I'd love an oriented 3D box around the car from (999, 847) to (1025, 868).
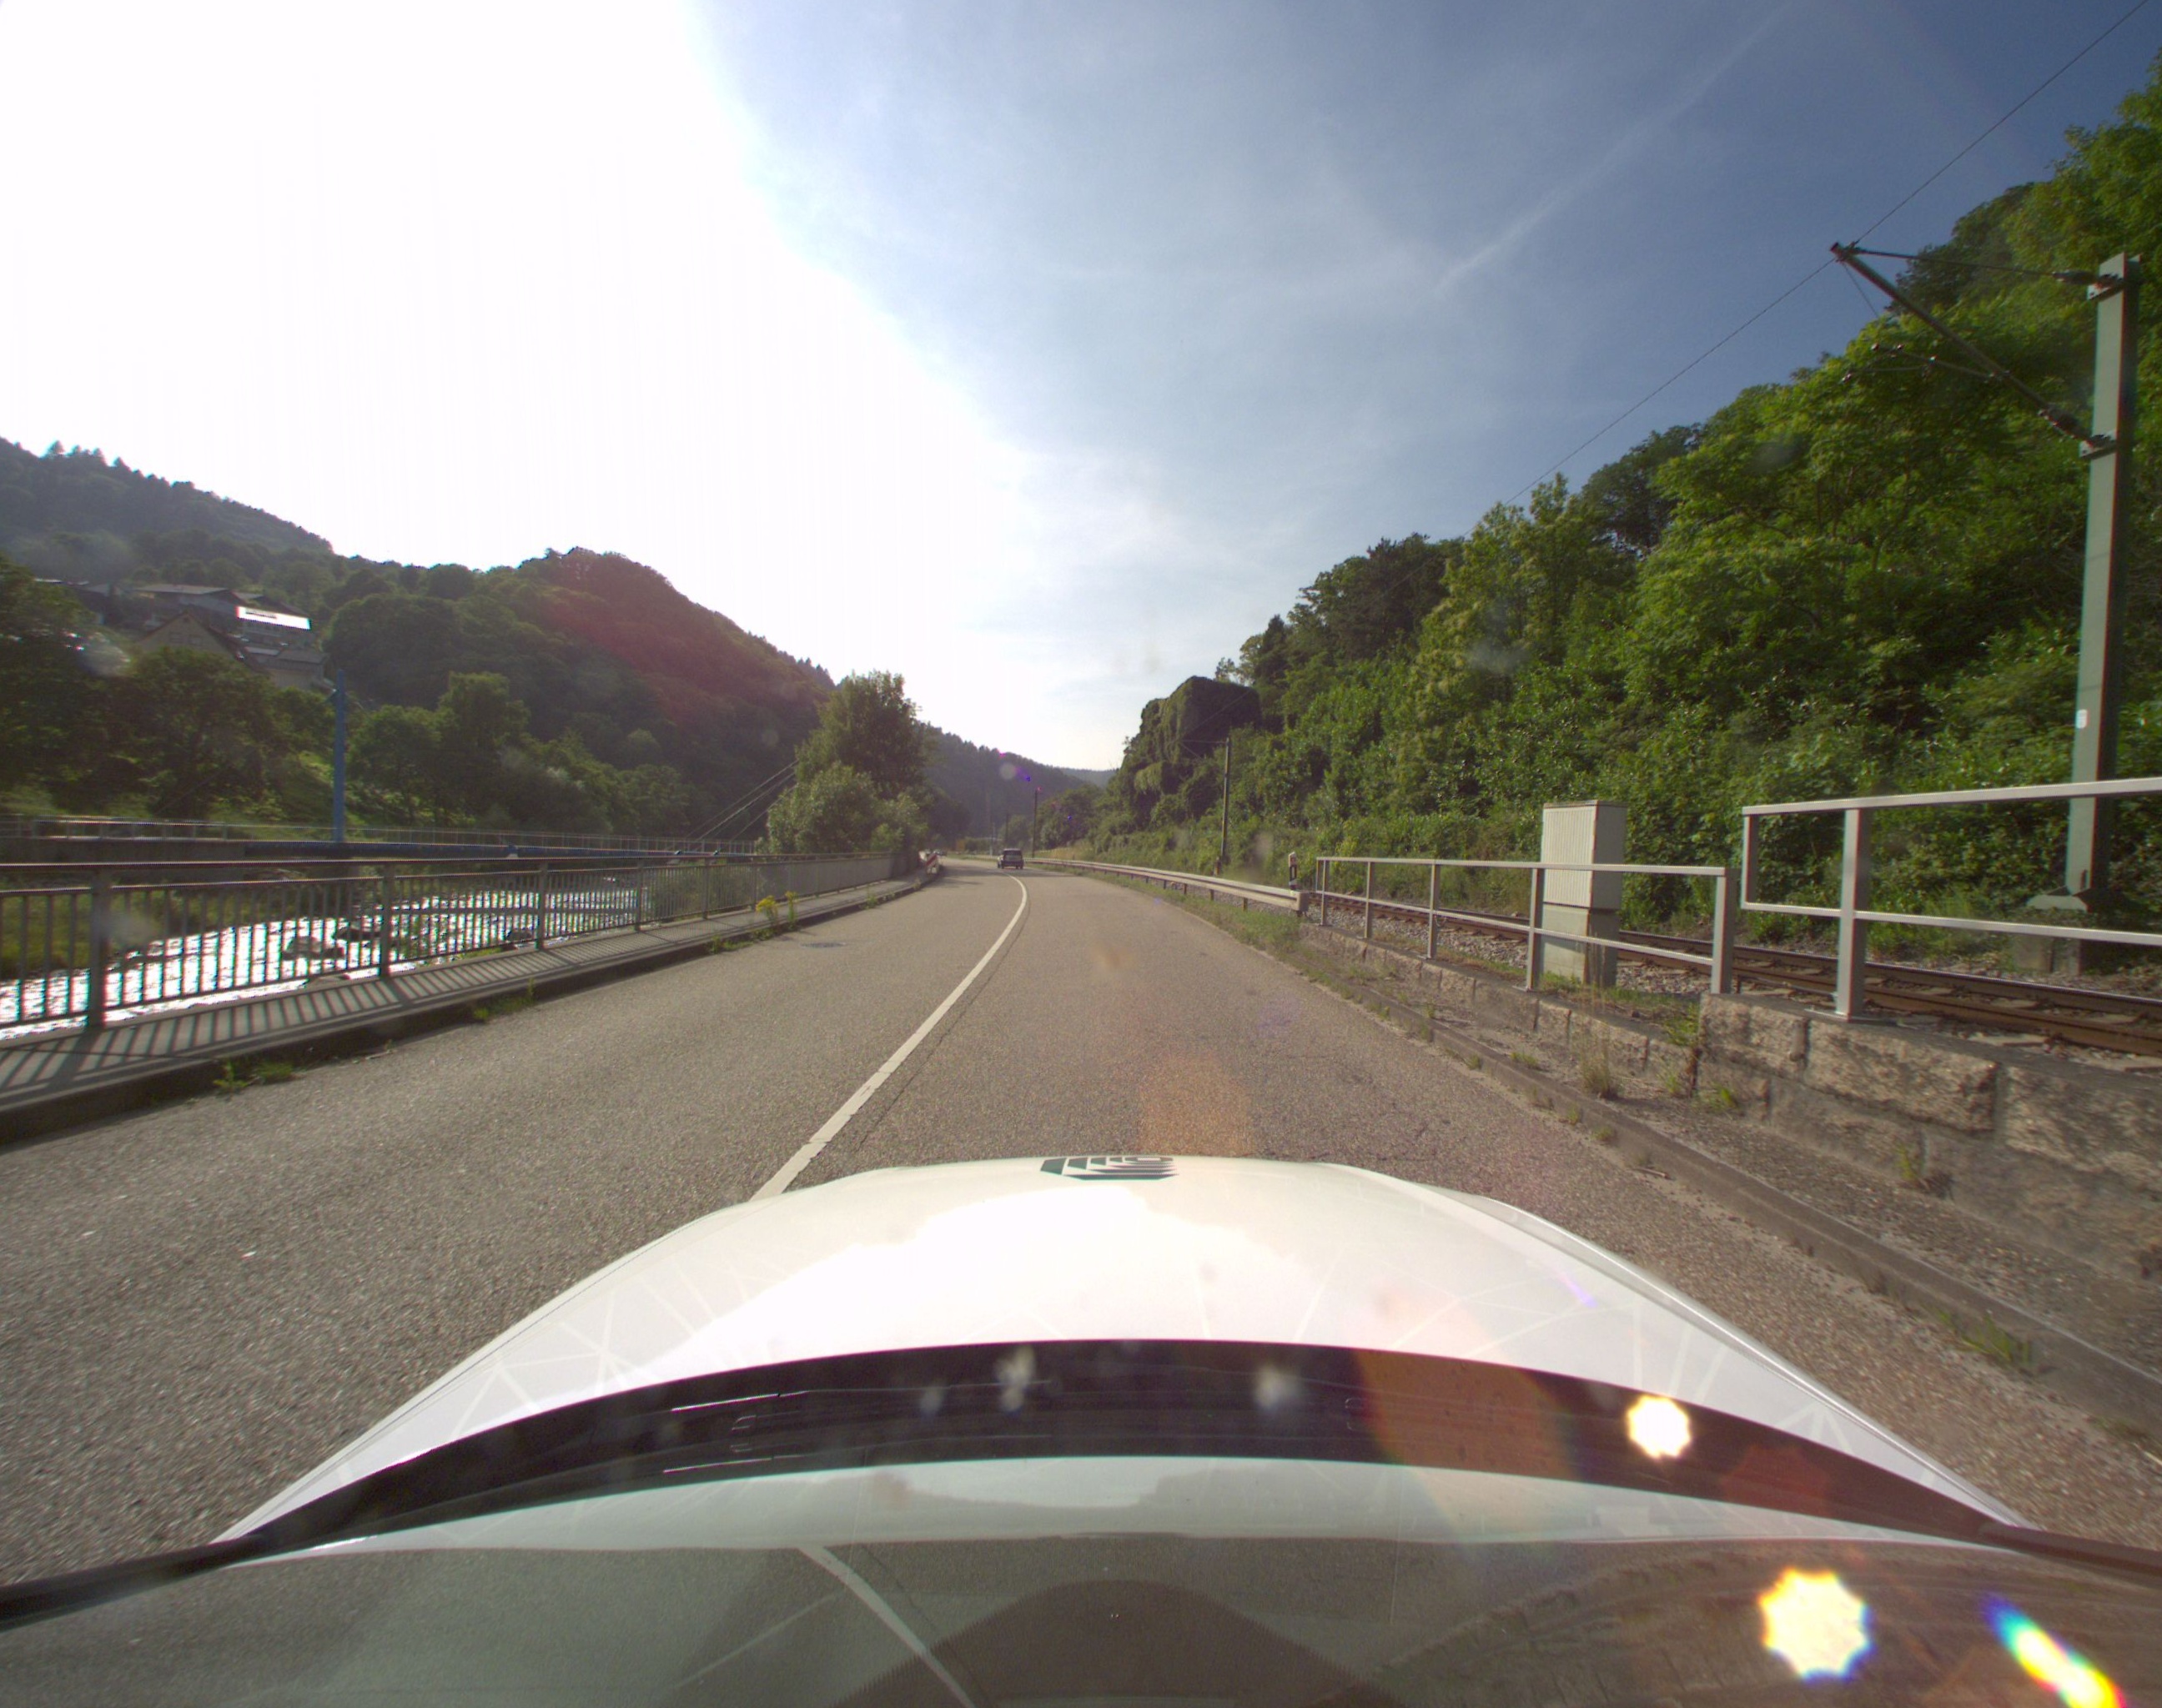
[{"bbox_3d":[-5.676,0.277,66.789,1.872,1.656,3.988,0,0,-8],"label":"car"}]
